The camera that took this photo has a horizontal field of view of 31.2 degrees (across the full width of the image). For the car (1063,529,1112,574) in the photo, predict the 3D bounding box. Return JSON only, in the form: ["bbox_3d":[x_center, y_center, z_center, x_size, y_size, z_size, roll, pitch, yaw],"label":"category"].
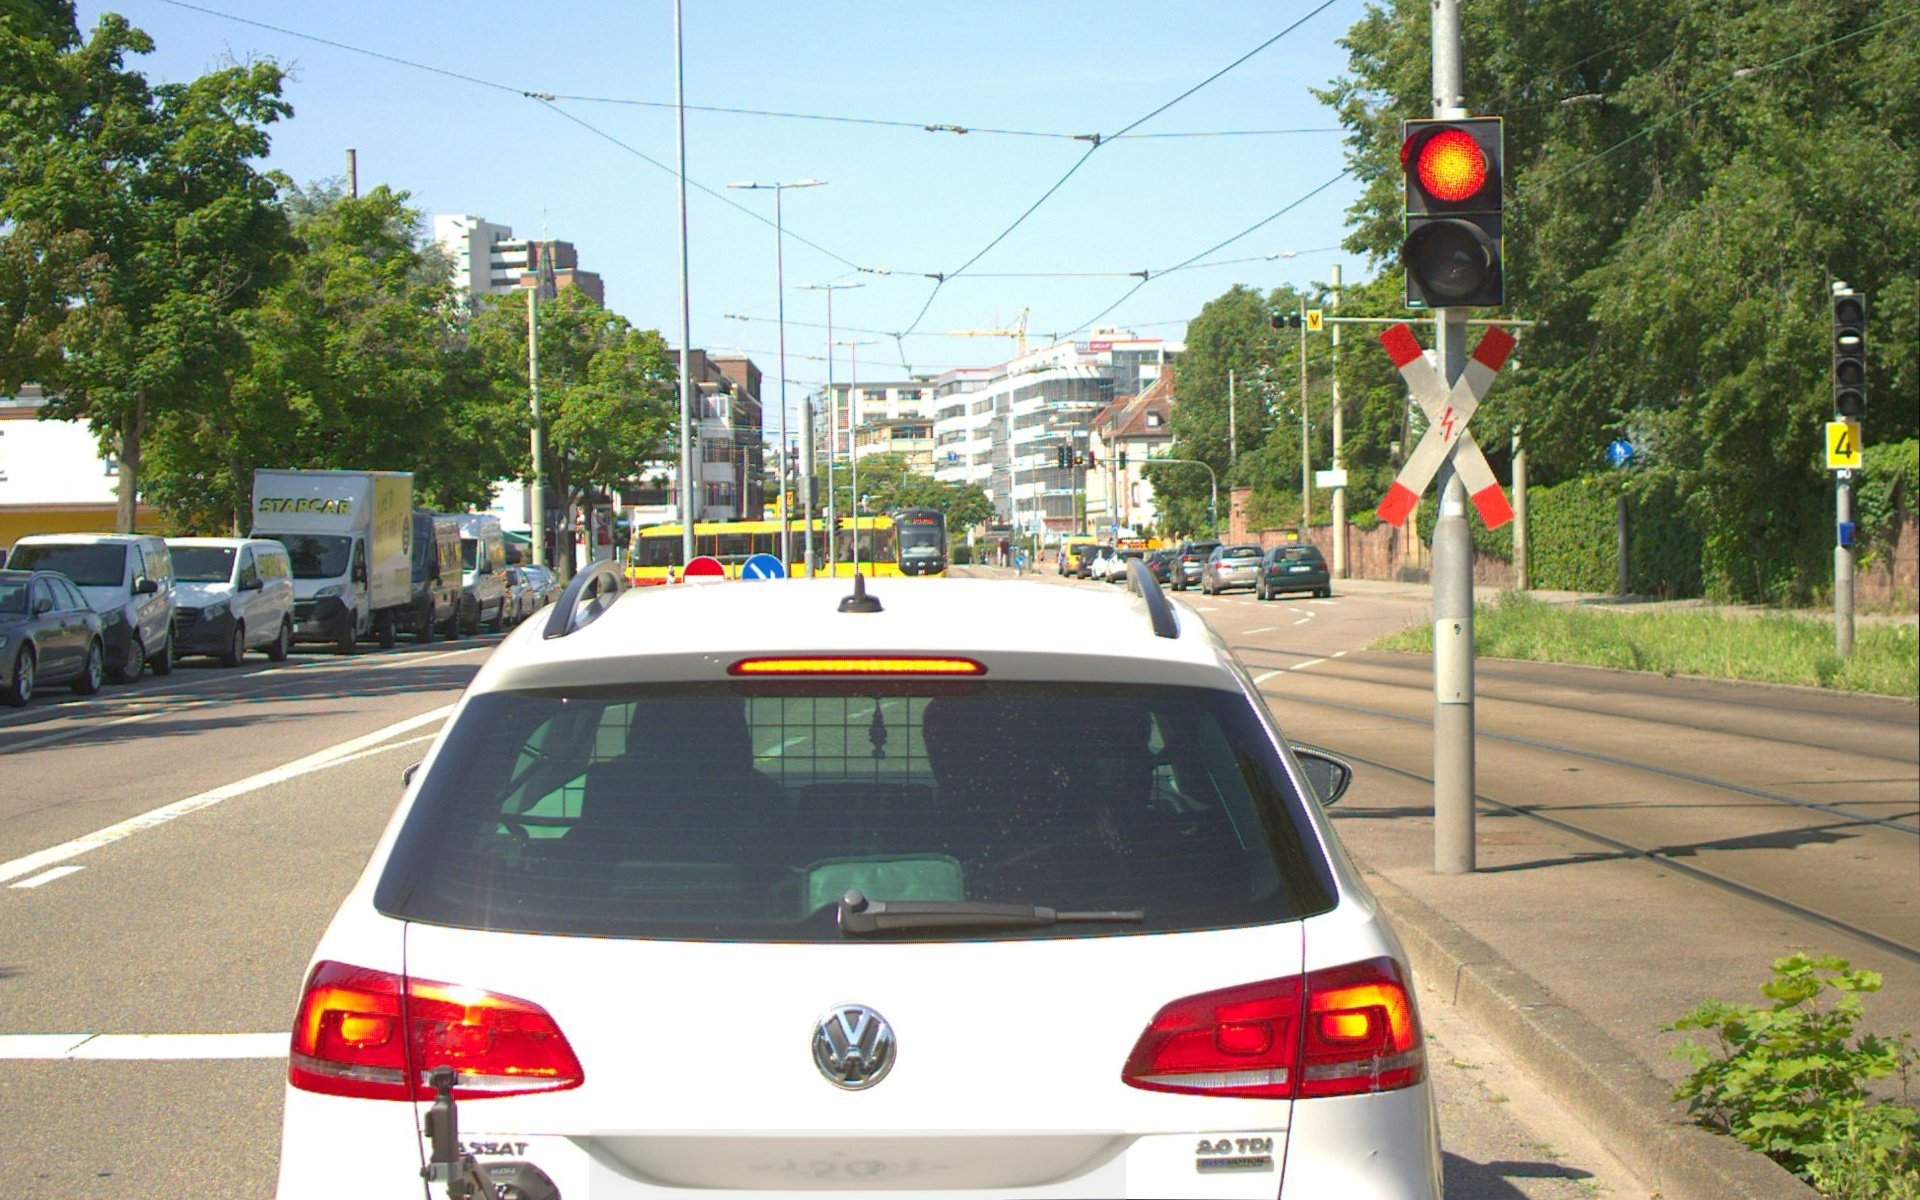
[{"bbox_3d":[7.391,-2.806,199.797,2.463,2.490,5.910,1,0,-1],"label":"car"}]

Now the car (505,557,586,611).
[{"bbox_3d":[-11.622,-0.459,96.596,1.780,1.428,4.038,-1,1,-1],"label":"car"}]

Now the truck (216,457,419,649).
[{"bbox_3d":[-11.176,-0.842,60.319,2.356,3.112,6.892,-1,1,-1],"label":"truck"}]

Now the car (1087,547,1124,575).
[{"bbox_3d":[7.046,-1.885,166.465,1.581,1.341,3.454,1,0,-1],"label":"car"}]

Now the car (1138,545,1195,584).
[{"bbox_3d":[7.836,-1.360,130.559,1.745,1.403,3.913,1,1,-2],"label":"car"}]

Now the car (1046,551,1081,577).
[{"bbox_3d":[6.448,-2.219,214.616,1.993,1.590,4.000,1,0,0],"label":"car"}]

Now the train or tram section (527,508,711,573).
[{"bbox_3d":[-17.674,-3.078,177.418,10.796,3.241,2.303,1,0,38],"label":"train or tram section"}]

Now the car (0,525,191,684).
[{"bbox_3d":[-11.501,0.015,45.412,1.843,1.930,5.195,-1,1,-4],"label":"car"}]

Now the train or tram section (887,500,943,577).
[{"bbox_3d":[-1.943,-2.668,151.888,2.301,3.241,11.275,1,0,0],"label":"train or tram section"}]

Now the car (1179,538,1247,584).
[{"bbox_3d":[8.531,-1.342,116.316,1.861,1.508,3.913,1,1,-2],"label":"car"}]

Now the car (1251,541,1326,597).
[{"bbox_3d":[8.458,-0.807,88.724,1.746,1.383,3.913,1,1,3],"label":"car"}]

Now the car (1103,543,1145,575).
[{"bbox_3d":[7.167,-1.788,150.252,1.581,1.341,3.454,1,0,-1],"label":"car"}]

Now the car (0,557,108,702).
[{"bbox_3d":[-11.010,0.304,38.632,1.843,1.511,4.197,-1,1,-1],"label":"car"}]

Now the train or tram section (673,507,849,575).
[{"bbox_3d":[-9.915,-2.907,170.171,2.302,3.241,11.014,1,0,-42],"label":"train or tram section"}]

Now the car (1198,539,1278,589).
[{"bbox_3d":[8.223,-1.075,101.933,1.861,1.412,4.325,1,1,-2],"label":"car"}]

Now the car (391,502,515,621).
[{"bbox_3d":[-11.155,-0.875,76.010,1.843,2.486,5.857,-1,1,0],"label":"car"}]

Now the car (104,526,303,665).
[{"bbox_3d":[-11.363,-0.111,51.973,1.843,1.954,5.134,-1,1,0],"label":"car"}]

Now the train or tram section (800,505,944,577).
[{"bbox_3d":[-4.232,-2.763,161.632,2.301,3.241,10.809,1,0,-27],"label":"train or tram section"}]

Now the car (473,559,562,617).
[{"bbox_3d":[-11.692,-0.342,91.095,1.843,1.428,4.038,-1,1,-1],"label":"car"}]

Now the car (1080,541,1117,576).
[{"bbox_3d":[7.240,-2.171,179.687,1.691,1.806,3.454,1,0,-1],"label":"car"}]

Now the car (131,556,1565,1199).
[{"bbox_3d":[-0.192,0.669,6.226,1.768,1.441,3.913,1,1,-1],"label":"car"}]

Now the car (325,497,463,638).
[{"bbox_3d":[-11.181,-0.668,68.190,1.843,2.659,5.003,-1,1,0],"label":"car"}]
